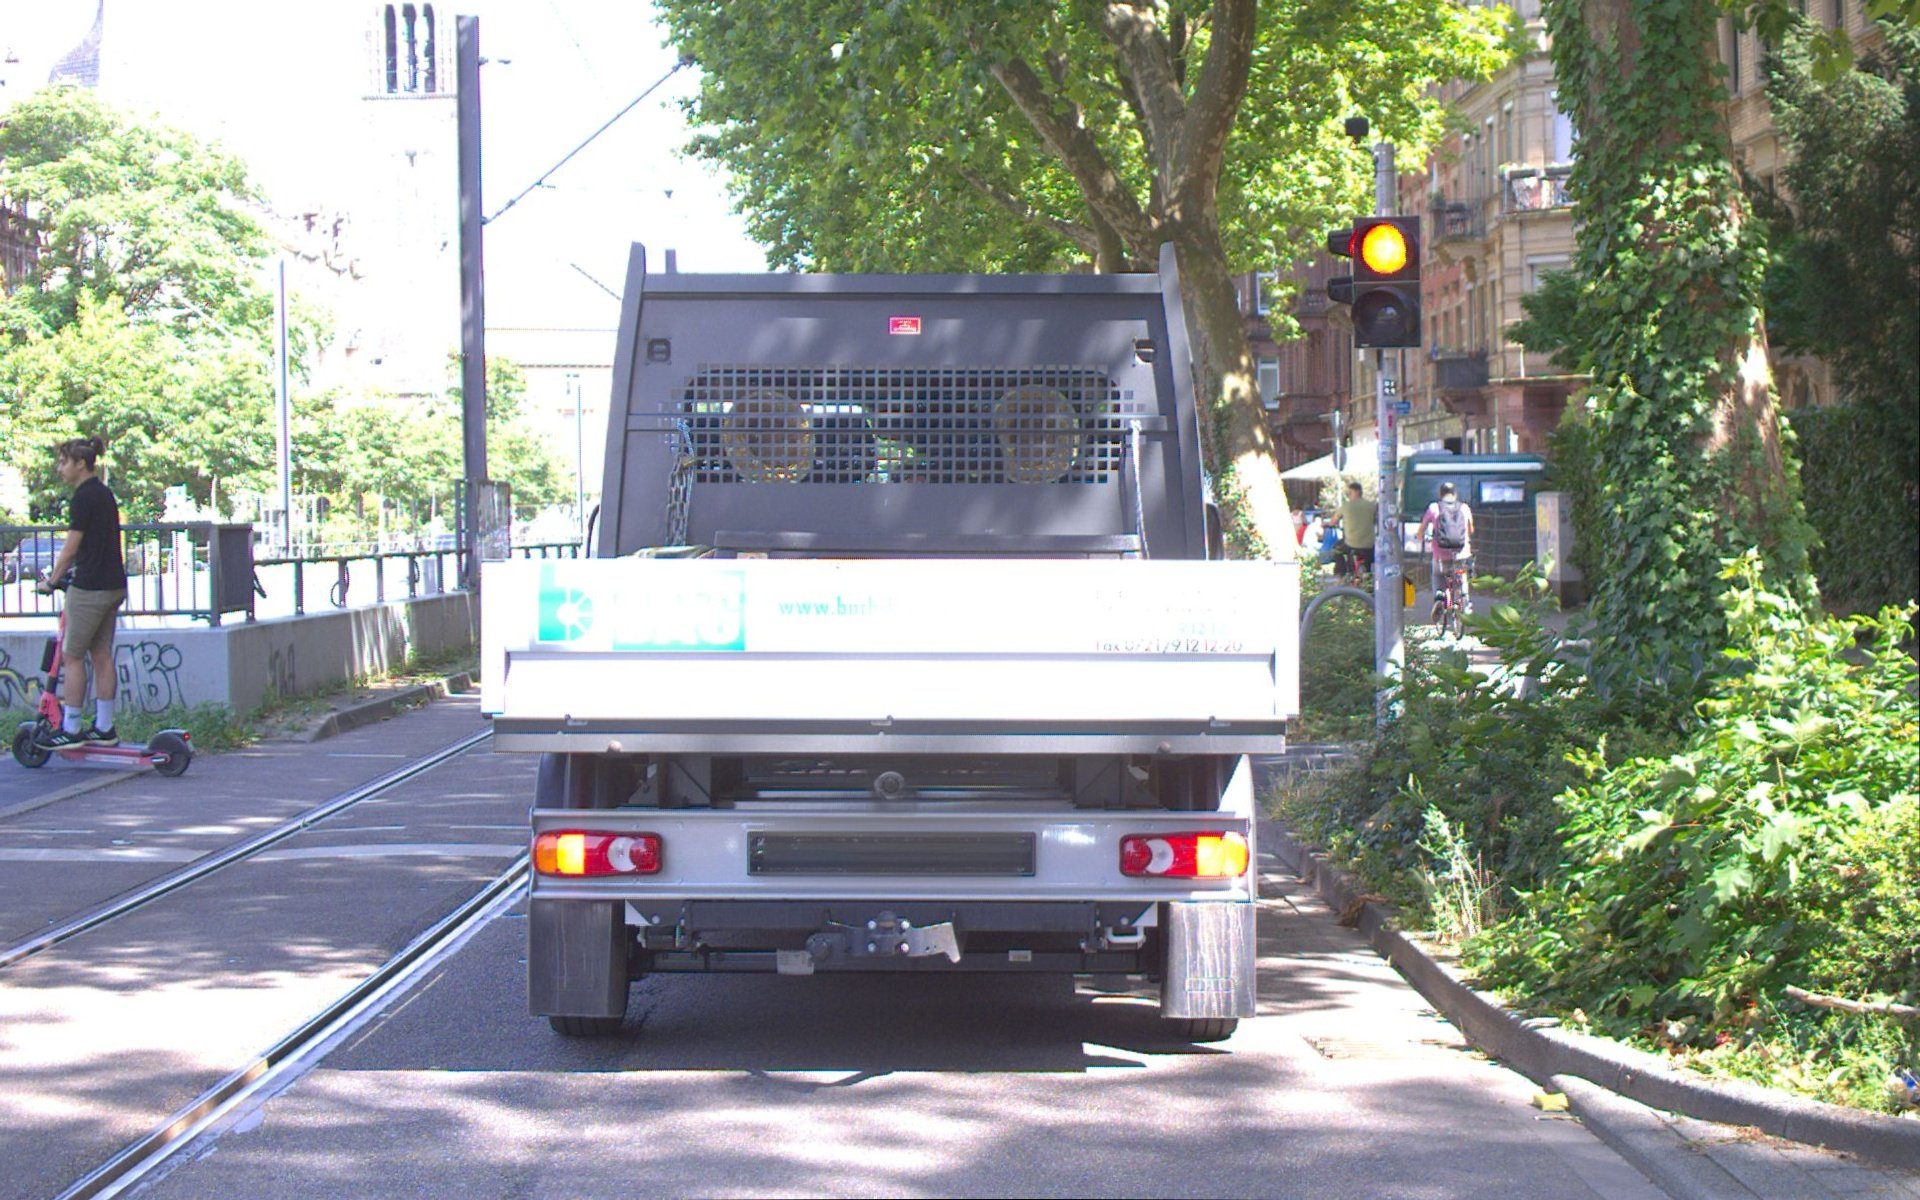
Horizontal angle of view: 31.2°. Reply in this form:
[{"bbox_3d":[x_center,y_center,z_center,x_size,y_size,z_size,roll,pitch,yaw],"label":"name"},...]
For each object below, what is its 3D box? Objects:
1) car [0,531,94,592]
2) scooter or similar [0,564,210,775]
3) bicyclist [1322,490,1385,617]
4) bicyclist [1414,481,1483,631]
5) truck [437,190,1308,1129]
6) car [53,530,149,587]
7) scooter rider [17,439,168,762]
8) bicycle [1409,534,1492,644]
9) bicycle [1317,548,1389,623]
[{"bbox_3d":[-23.420,-0.996,87.658,1.770,1.493,4.001,-1,1,-2],"label":"car"},{"bbox_3d":[-5.129,0.403,20.208,1.266,1.200,0.657,-1,1,3],"label":"scooter or similar"},{"bbox_3d":[4.920,-0.587,43.045,0.680,1.558,0.777,-1,1,0],"label":"bicyclist"},{"bbox_3d":[5.184,-0.469,36.537,0.638,1.568,0.579,-1,1,1],"label":"bicyclist"},{"bbox_3d":[-0.213,0.098,10.800,2.138,2.311,4.402,1,1,0],"label":"truck"},{"bbox_3d":[-23.837,-1.173,95.489,1.770,1.493,4.001,-1,1,-2],"label":"car"},{"bbox_3d":[-5.088,-0.003,20.196,0.667,1.860,0.664,-1,1,3],"label":"scooter rider"},{"bbox_3d":[5.193,-0.134,36.490,0.565,1.108,2.310,-1,1,1],"label":"bicycle"},{"bbox_3d":[4.927,-0.193,43.215,0.675,0.878,2.163,-1,1,1],"label":"bicycle"}]
